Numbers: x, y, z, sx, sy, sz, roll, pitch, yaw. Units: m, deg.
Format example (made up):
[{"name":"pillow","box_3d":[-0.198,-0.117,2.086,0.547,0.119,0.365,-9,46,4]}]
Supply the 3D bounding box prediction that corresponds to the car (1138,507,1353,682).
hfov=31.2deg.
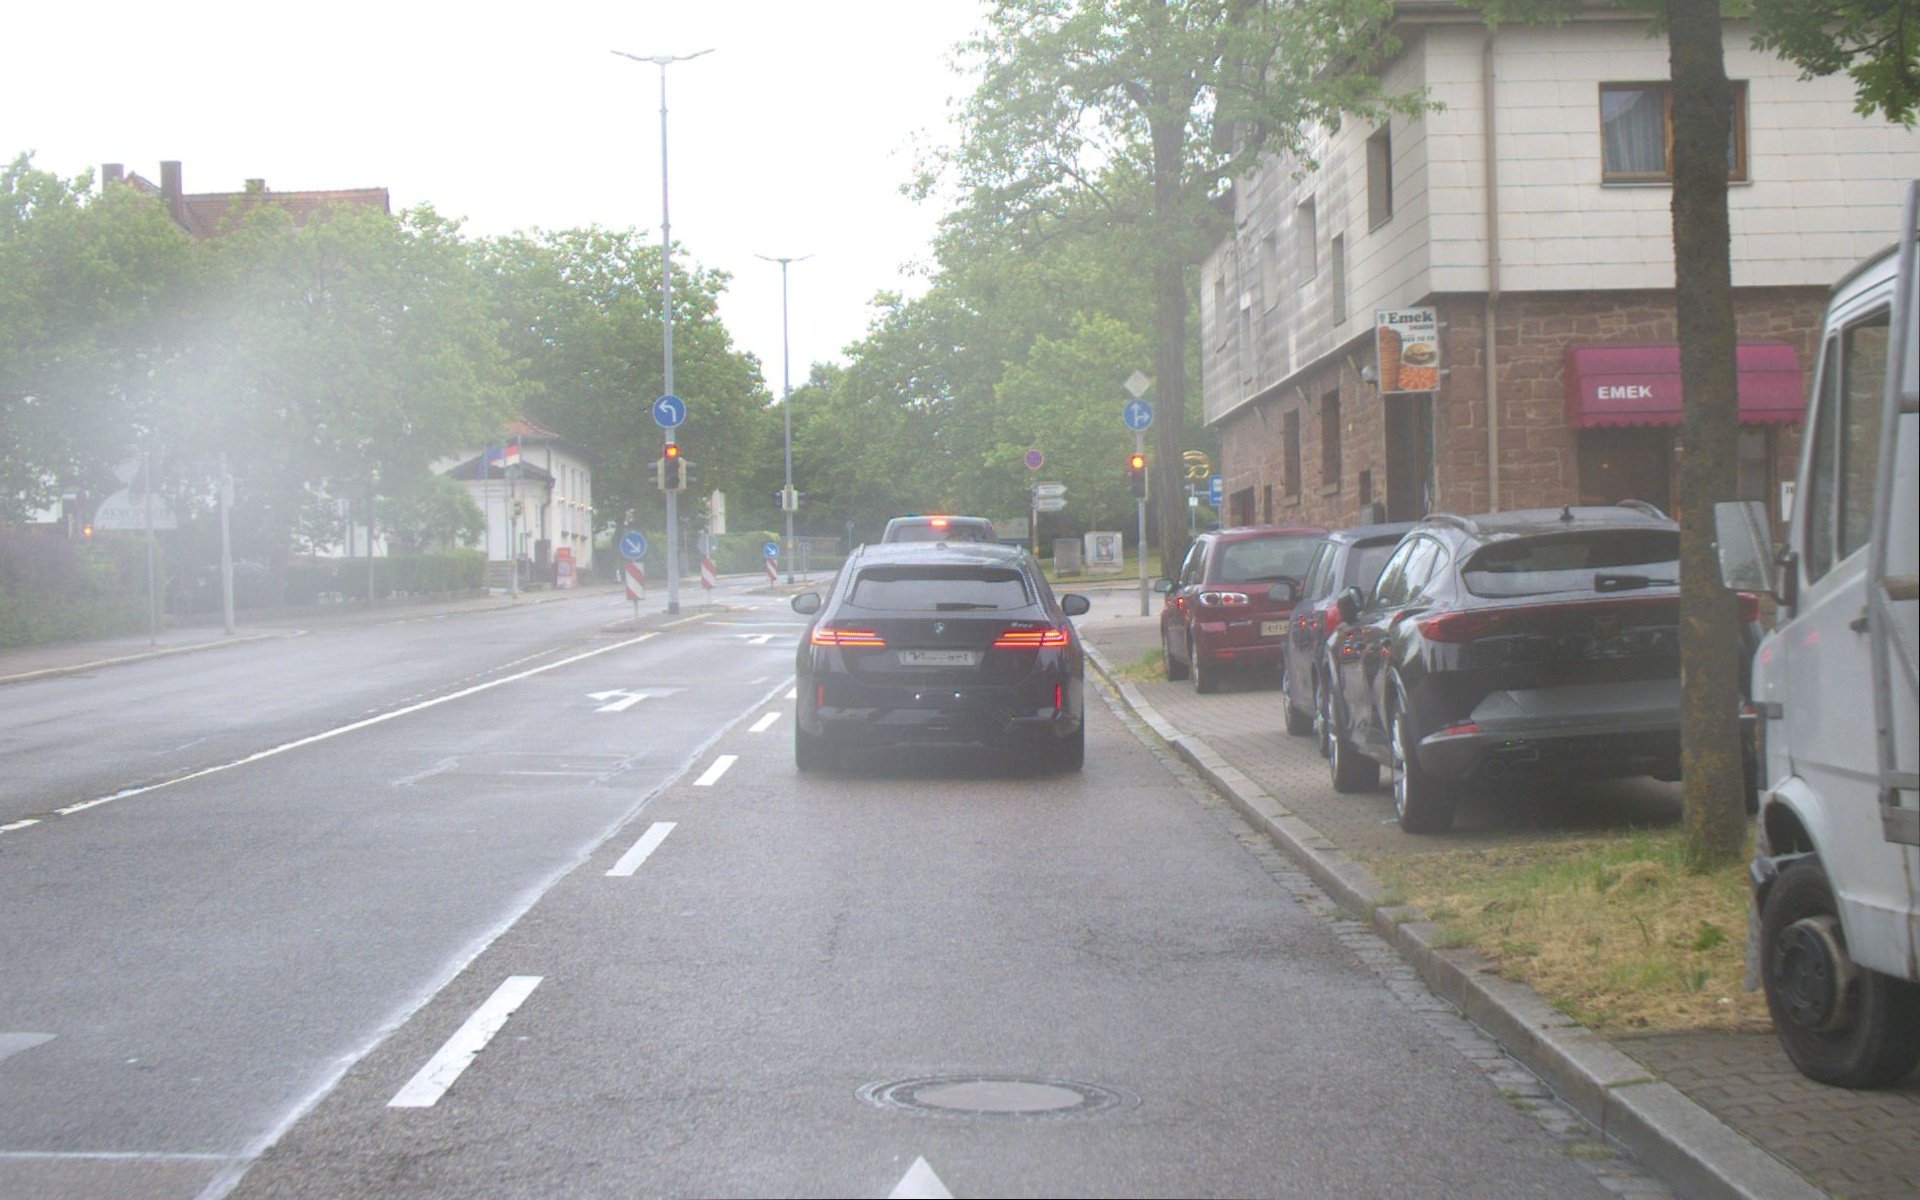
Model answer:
[{"name":"car","box_3d":[2.699,-0.099,33.157,1.584,1.485,3.628,-4,2,-2]}]

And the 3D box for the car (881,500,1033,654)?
[{"name":"car","box_3d":[-0.081,-0.320,42.657,1.783,1.811,4.001,0,1,-1]}]

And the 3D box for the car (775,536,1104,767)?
[{"name":"car","box_3d":[-0.200,0.285,23.915,2.064,1.441,4.483,0,1,-2]}]

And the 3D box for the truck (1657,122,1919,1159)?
[{"name":"truck","box_3d":[3.094,0.078,6.211,2.080,2.214,6.502,-4,1,-1]}]

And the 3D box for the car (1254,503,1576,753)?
[{"name":"car","box_3d":[3.024,0.126,23.511,1.604,1.467,3.856,-4,1,0]}]

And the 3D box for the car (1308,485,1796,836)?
[{"name":"car","box_3d":[2.903,0.225,17.714,1.714,1.493,4.184,-3,1,0]}]
